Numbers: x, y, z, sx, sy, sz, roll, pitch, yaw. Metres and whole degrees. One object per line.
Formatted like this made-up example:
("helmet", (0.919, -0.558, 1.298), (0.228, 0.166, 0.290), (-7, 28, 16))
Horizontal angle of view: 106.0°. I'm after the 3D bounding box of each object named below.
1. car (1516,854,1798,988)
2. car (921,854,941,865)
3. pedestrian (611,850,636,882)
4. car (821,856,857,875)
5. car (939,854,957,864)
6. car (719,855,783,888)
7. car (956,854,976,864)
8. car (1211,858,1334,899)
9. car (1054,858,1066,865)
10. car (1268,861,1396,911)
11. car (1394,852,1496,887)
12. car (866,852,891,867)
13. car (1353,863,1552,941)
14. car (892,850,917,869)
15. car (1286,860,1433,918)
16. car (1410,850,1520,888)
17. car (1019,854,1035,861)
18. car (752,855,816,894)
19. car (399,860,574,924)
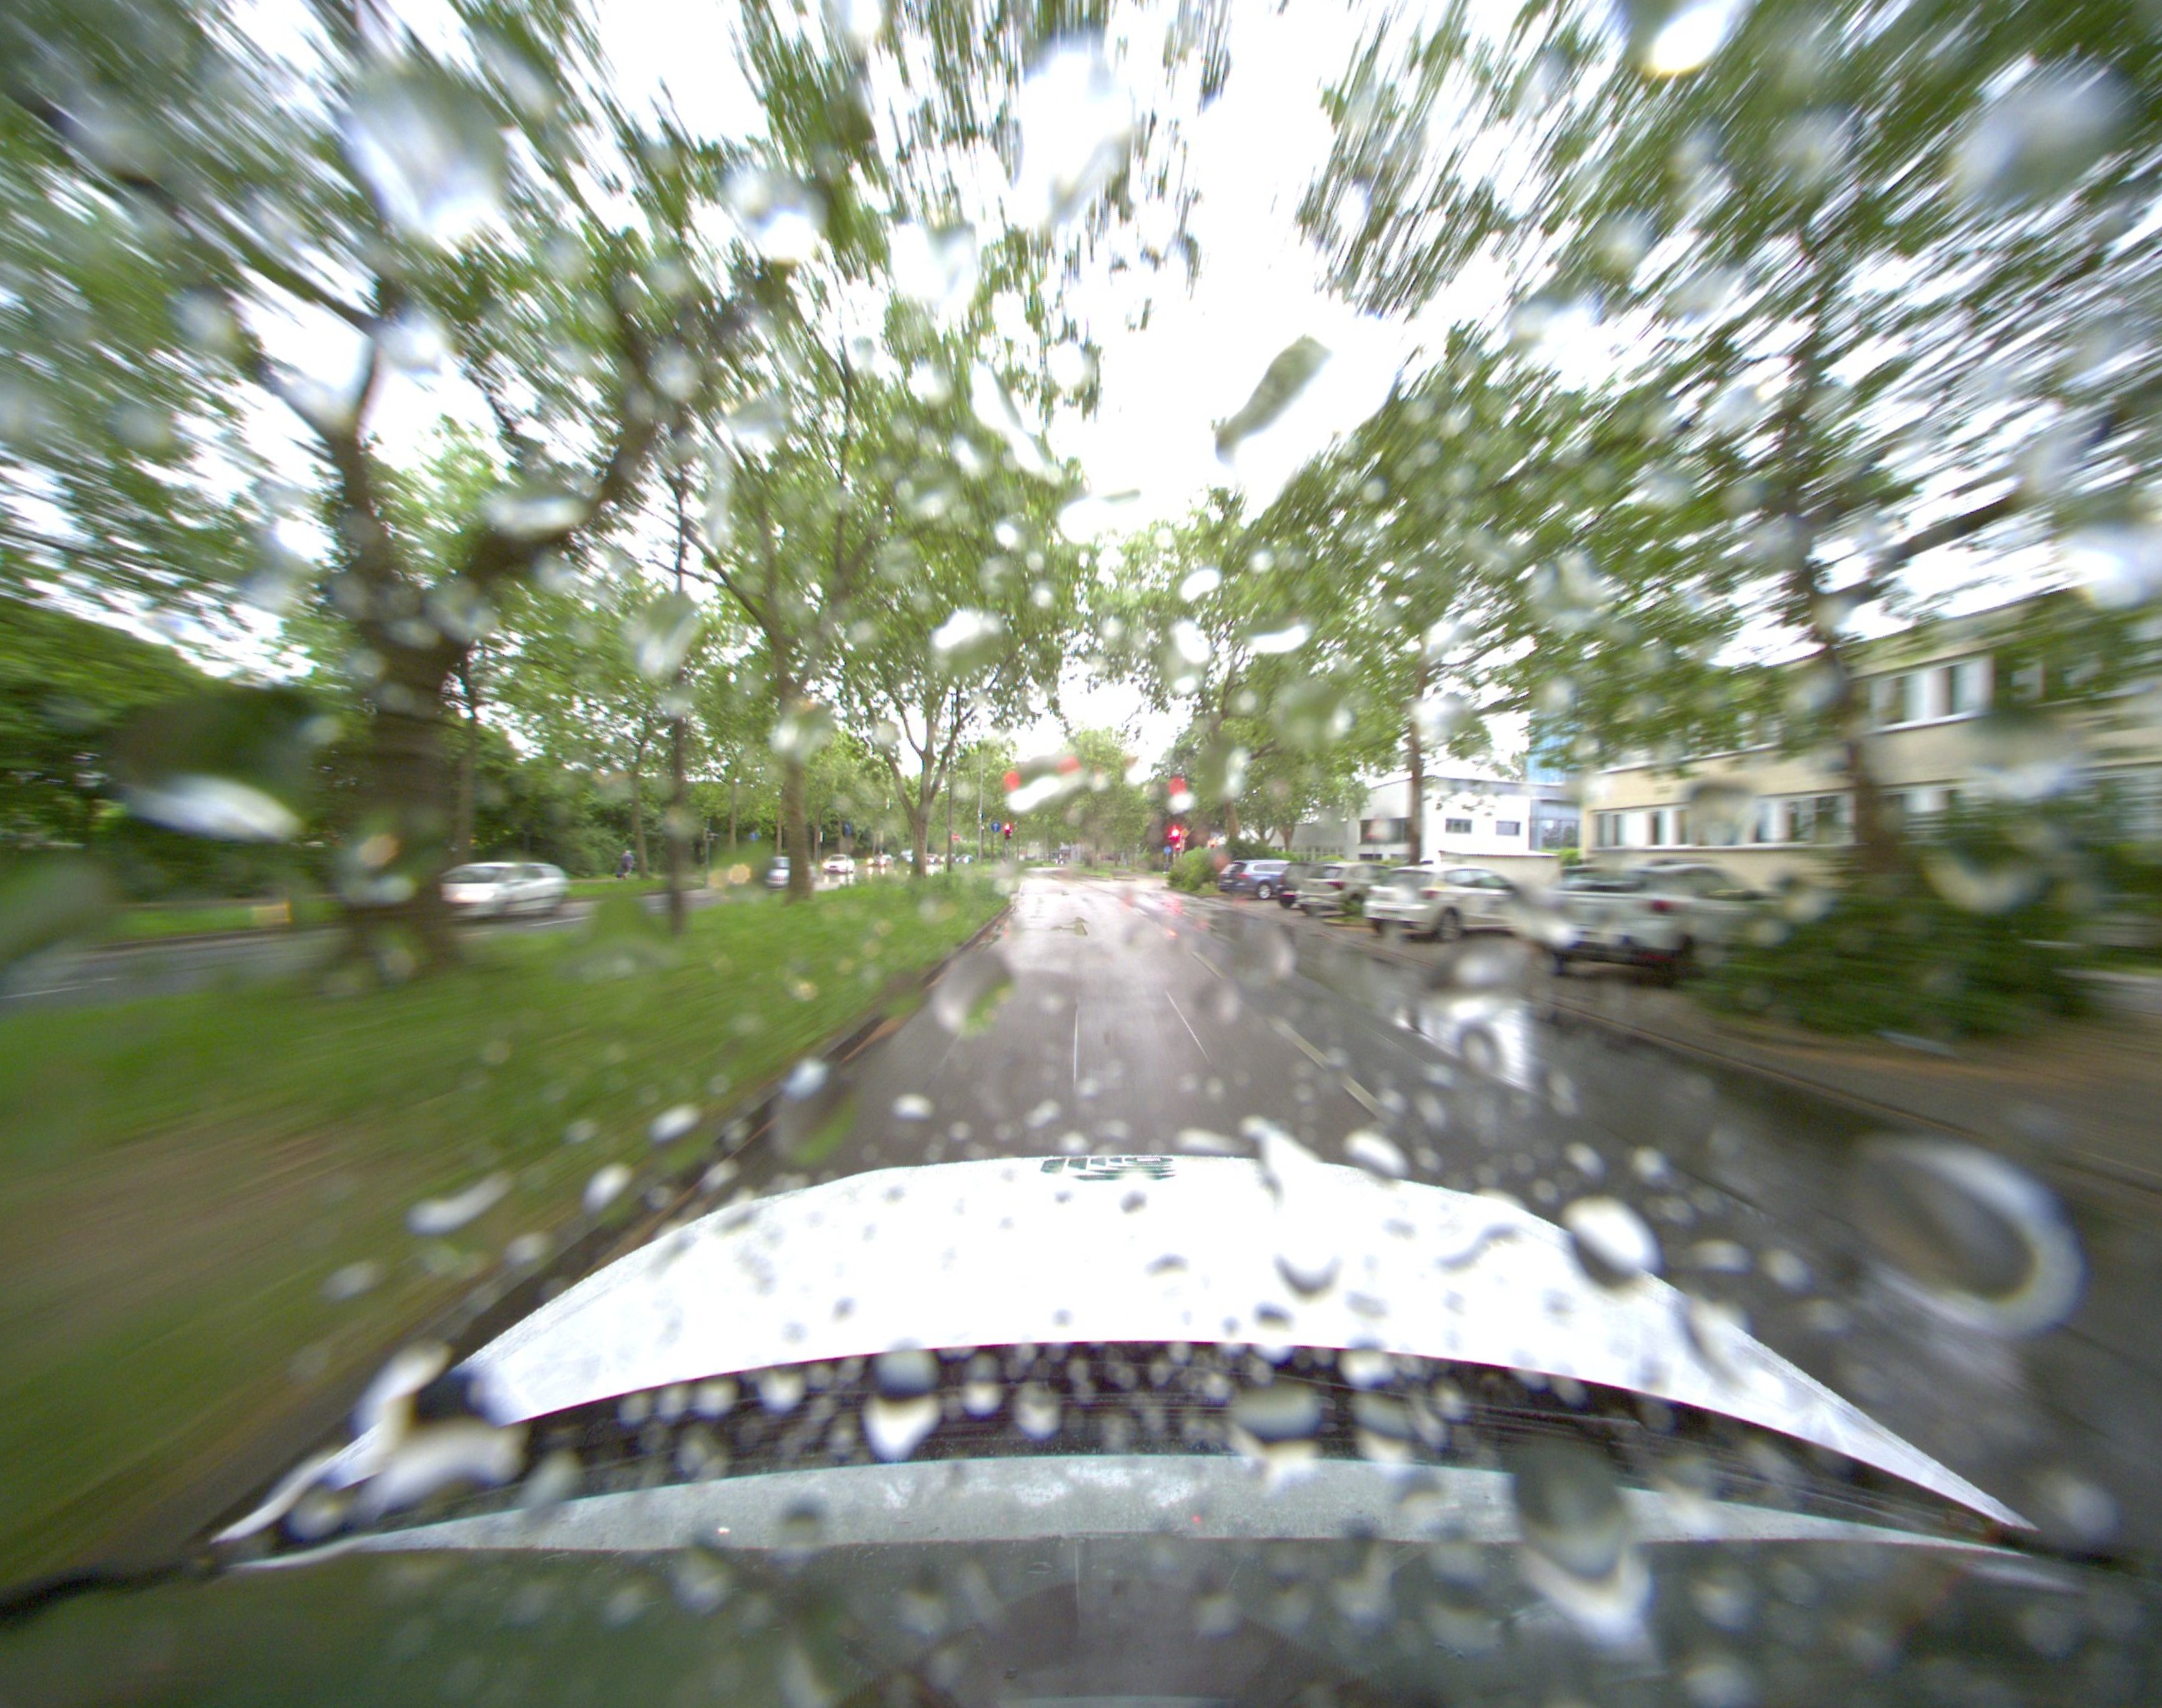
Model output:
("car", (7.986, 0.786, 11.210), (4.052, 1.539, 1.732), (0, 0, -32))
("car", (-19.314, 0.671, 104.994), (1.737, 1.408, 4.446), (0, 0, 1))
("pedestrian", (-24.032, 0.643, 42.800), (0.829, 1.674, 0.898), (0, 0, -5))
("car", (-18.828, 0.879, 63.578), (1.739, 1.476, 4.230), (0, 0, -3))
("car", (-18.540, 0.717, 113.670), (1.579, 1.373, 3.340), (0, 0, 6))
("car", (-16.819, 0.847, 41.753), (1.739, 1.591, 4.205), (0, 0, -3))
("car", (-17.065, 0.740, 121.116), (1.577, 1.373, 4.276), (0, 0, 12))
("car", (7.314, 0.896, 31.000), (4.505, 1.459, 1.734), (0, 0, -26))
("car", (-4.223, 1.559, 166.828), (1.577, 1.373, 4.275), (0, 0, 11))
("car", (7.791, 0.945, 25.237), (3.703, 1.416, 1.732), (0, 0, -30))
("car", (18.705, 0.798, 41.914), (4.533, 1.757, 1.776), (0, 0, -7))
("car", (-20.992, 0.592, 84.684), (1.739, 1.476, 4.230), (0, 0, -3))
("car", (7.487, 0.892, 16.409), (3.700, 1.416, 1.734), (0, 0, -26))
("car", (-17.234, 0.522, 79.575), (1.741, 1.842, 5.111), (0, 0, -5))
("car", (7.525, 0.888, 21.959), (3.704, 1.416, 1.758), (0, 0, -30))
("car", (18.333, 0.700, 38.991), (4.529, 1.757, 1.746), (0, 0, -5))
("car", (-14.779, 0.966, 223.076), (3.991, 2.014, 1.991), (1, -2, -13))
("car", (-12.908, 0.841, 35.636), (1.742, 1.591, 4.317), (0, 0, -8))
("car", (-15.196, 0.913, 21.122), (1.740, 1.476, 4.076), (0, 0, -4))
